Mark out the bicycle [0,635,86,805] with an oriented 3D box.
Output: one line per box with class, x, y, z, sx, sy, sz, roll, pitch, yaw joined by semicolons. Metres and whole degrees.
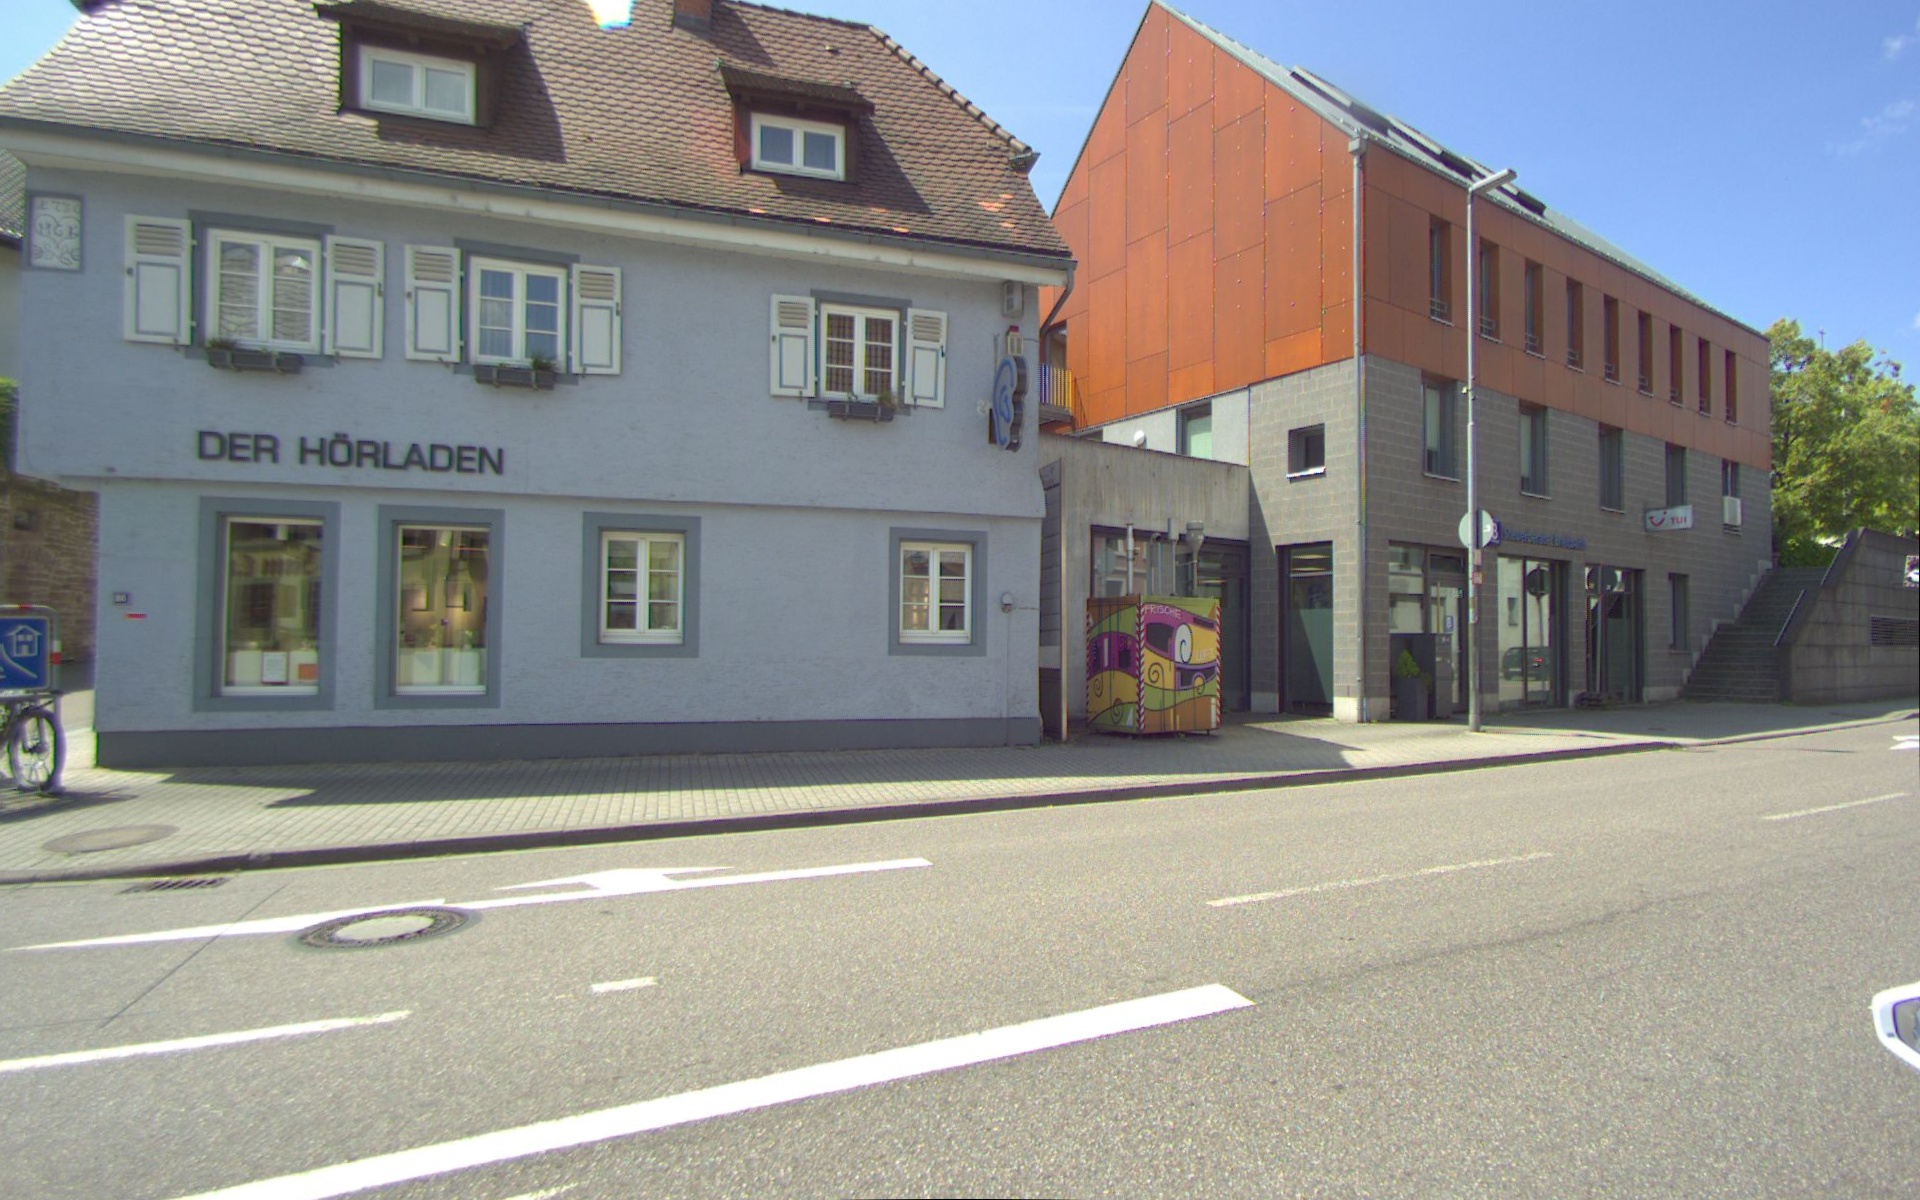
bicycle;-8.315;0.958;8.520;1.795;1.266;0.578;2;2;21
